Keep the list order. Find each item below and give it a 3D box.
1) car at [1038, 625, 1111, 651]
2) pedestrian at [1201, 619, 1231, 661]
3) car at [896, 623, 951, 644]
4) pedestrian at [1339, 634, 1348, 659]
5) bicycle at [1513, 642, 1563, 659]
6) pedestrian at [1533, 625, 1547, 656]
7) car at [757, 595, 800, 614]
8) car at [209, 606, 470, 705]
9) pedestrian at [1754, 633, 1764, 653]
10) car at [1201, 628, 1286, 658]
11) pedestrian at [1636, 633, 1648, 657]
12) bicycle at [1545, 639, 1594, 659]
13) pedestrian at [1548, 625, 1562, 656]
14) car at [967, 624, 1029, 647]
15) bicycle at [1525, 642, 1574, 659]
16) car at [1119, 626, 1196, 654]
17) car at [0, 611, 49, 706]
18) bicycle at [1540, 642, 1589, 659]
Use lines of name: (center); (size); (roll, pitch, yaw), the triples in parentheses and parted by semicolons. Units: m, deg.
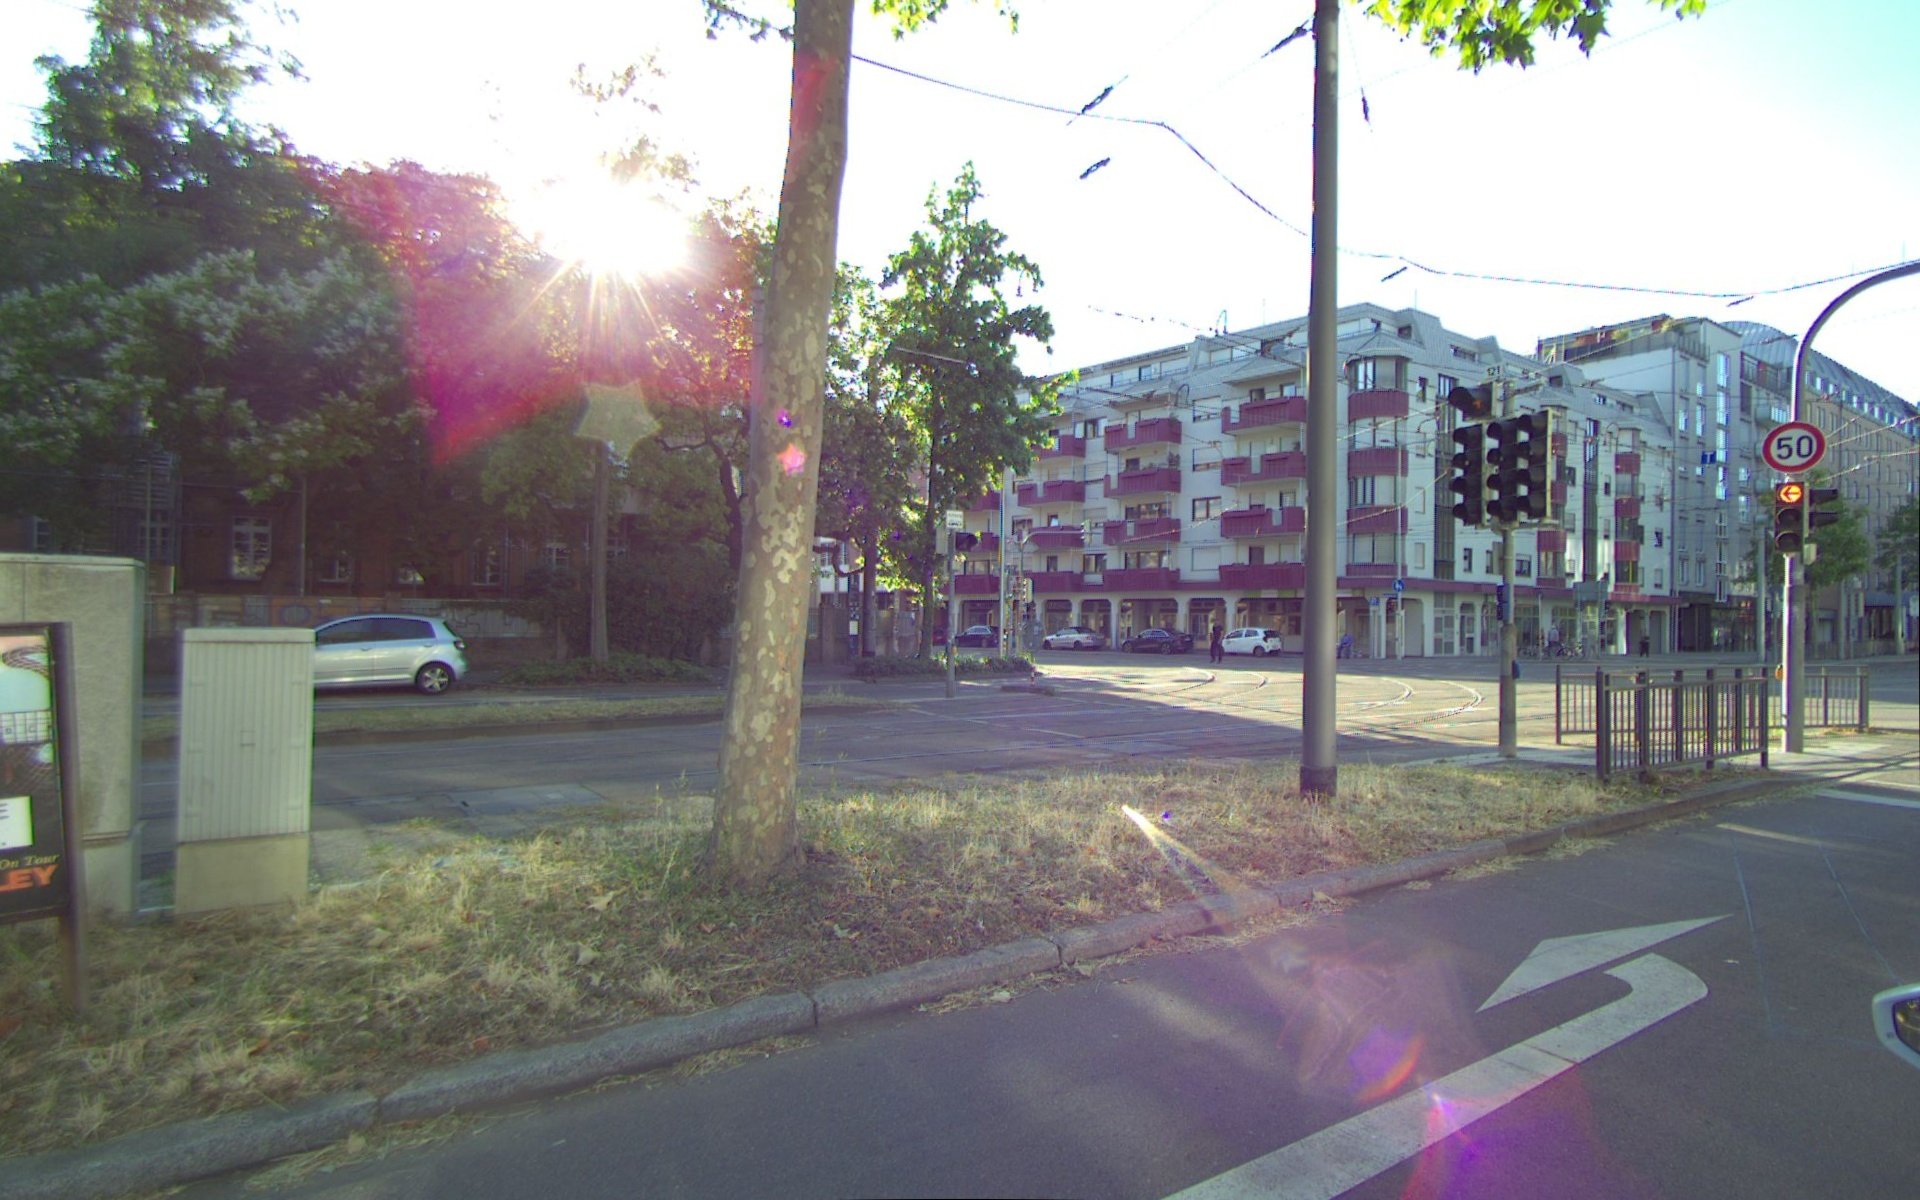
car: (6.932, 2.301, 61.057); (1.790, 1.483, 4.215); (2, -2, -44)
pedestrian: (10.314, 1.615, 40.527); (1.025, 1.684, 0.703); (1, -2, -39)
car: (-2.640, 2.379, 71.778); (1.790, 1.483, 3.948); (2, -2, -44)
pedestrian: (19.018, 2.326, 49.798); (0.316, 1.230, 0.301); (1, -2, -40)
bicycle: (29.512, 2.575, 51.340); (0.635, 0.797, 2.153); (1, -2, -37)
pedestrian: (33.110, 2.299, 57.355); (0.523, 1.721, 0.507); (1, -1, -37)
car: (-15.695, 0.394, 86.673); (1.790, 1.483, 3.948); (2, -2, -44)
car: (-11.987, 1.022, 19.526); (4.140, 1.711, 1.979); (1, -1, -37)
pedestrian: (59.820, 3.250, 75.207); (0.523, 1.478, 0.507); (1, -1, -37)
car: (14.852, 2.229, 52.807); (3.946, 1.483, 1.791); (-2, -2, 44)
pedestrian: (41.531, 2.739, 61.206); (0.524, 1.478, 0.505); (1, -2, -43)
bicycle: (31.933, 2.565, 52.639); (0.487, 0.963, 2.153); (1, -2, -37)
pedestrian: (33.700, 2.282, 56.912); (0.523, 1.721, 0.507); (1, -1, -37)
car: (2.474, 2.311, 66.244); (1.790, 1.483, 3.948); (2, -2, -44)
bicycle: (30.267, 2.595, 51.566); (0.487, 0.797, 2.153); (1, -2, -37)
car: (11.082, 2.227, 56.527); (3.945, 1.483, 1.791); (-2, -2, 44)
car: (-17.277, 0.894, 15.472); (4.607, 1.495, 1.979); (1, -1, -37)
bicycle: (31.438, 2.613, 52.231); (0.523, 0.835, 2.153); (1, -2, -37)
